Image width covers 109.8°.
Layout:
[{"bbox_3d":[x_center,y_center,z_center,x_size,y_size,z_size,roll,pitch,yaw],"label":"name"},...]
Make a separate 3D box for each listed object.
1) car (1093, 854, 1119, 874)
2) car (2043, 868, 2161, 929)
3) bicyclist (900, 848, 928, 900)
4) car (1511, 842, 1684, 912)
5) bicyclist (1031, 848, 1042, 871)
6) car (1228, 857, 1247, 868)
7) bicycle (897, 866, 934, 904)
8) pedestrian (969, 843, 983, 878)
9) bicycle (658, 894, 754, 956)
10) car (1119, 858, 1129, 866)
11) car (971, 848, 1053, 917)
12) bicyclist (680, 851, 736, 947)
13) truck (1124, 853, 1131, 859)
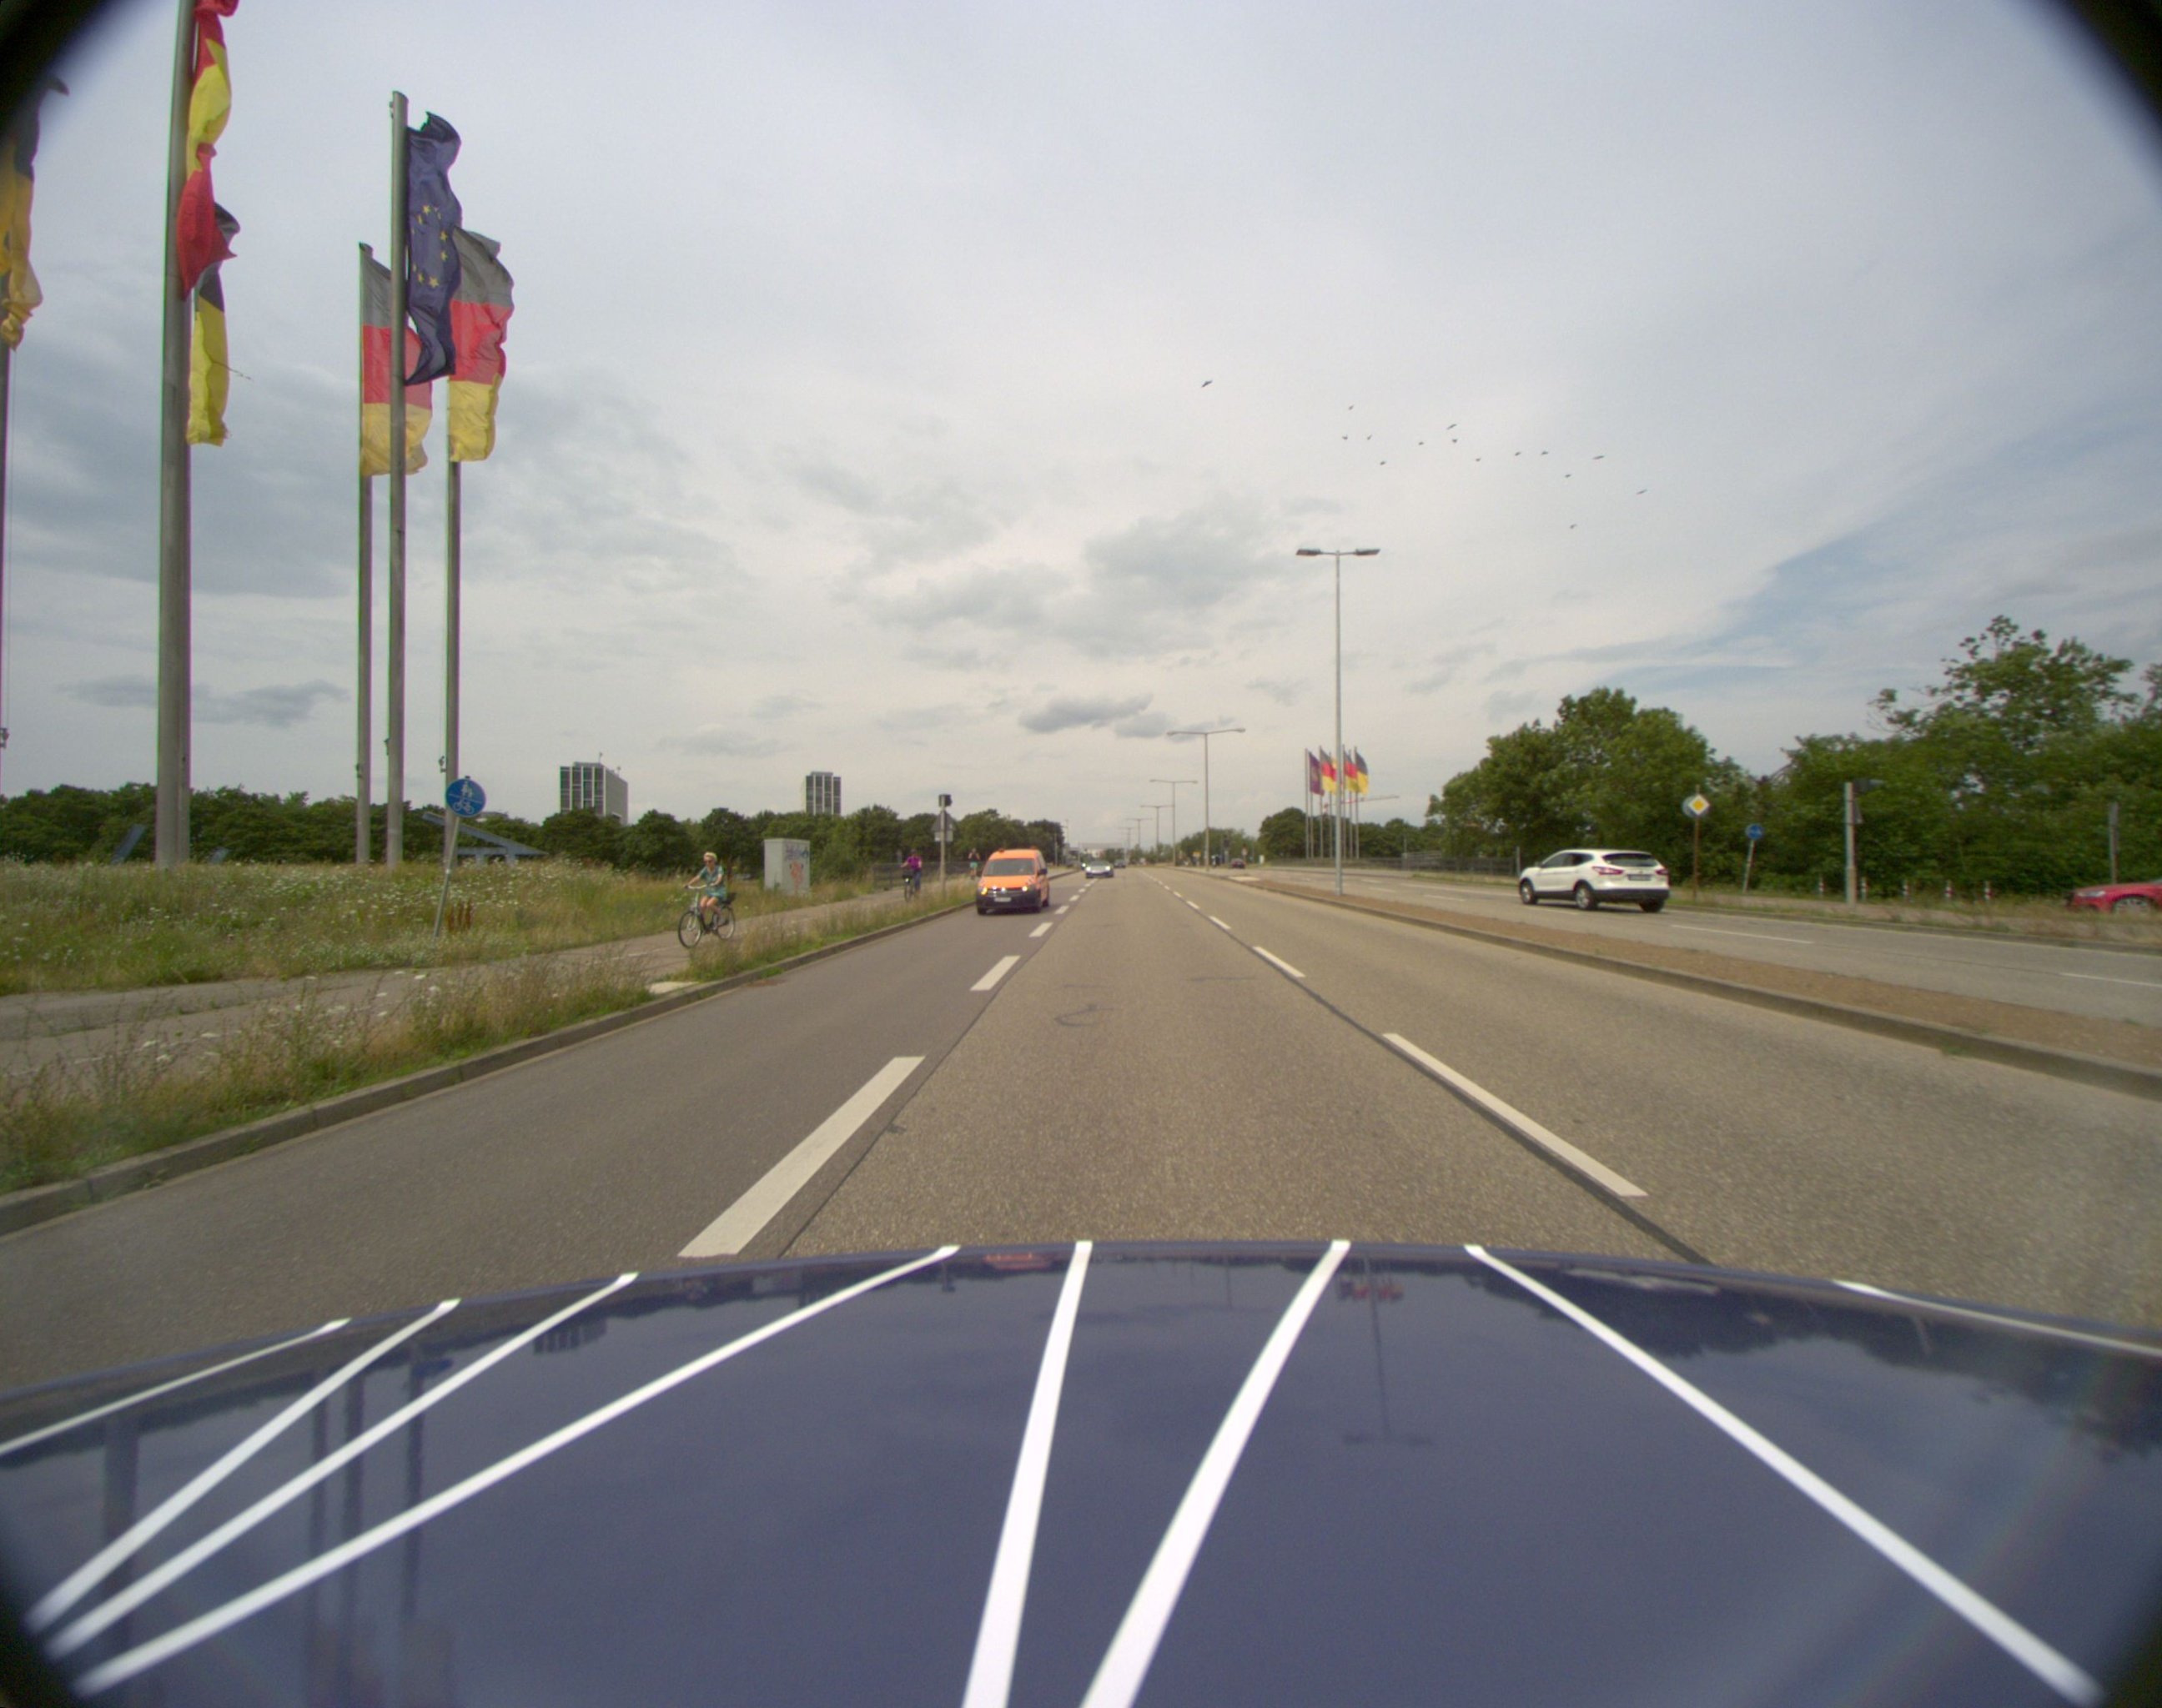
[{"bbox_3d":[1.798,0.759,56.137,1.695,1.403,3.684,-2,-1,-1],"label":"car"},{"bbox_3d":[26.101,1.023,17.700,4.285,1.365,1.785,-1,-1,40],"label":"car"},{"bbox_3d":[-5.653,0.668,25.770,0.705,1.745,0.991,0,0,1],"label":"bicyclist"},{"bbox_3d":[13.355,0.573,20.017,1.698,1.619,4.385,-1,-1,3],"label":"car"},{"bbox_3d":[-3.442,0.432,58.874,0.873,1.791,0.956,0,1,-4],"label":"bicyclist"},{"bbox_3d":[20.583,1.062,99.861,1.997,1.365,4.579,1,1,6],"label":"car"},{"bbox_3d":[-5.580,1.026,25.723,0.695,1.185,2.461,0,0,1],"label":"bicycle"},{"bbox_3d":[-6.245,0.389,45.225,0.628,2.002,0.668,1,0,2],"label":"pedestrian"},{"bbox_3d":[-6.687,1.235,13.696,0.625,0.883,2.154,-1,0,0],"label":"bicycle"},{"bbox_3d":[7.072,1.334,124.778,1.558,1.229,3.470,-2,-1,1],"label":"car"},{"bbox_3d":[-1.949,0.796,22.646,1.892,1.824,4.431,-2,-1,1],"label":"car"},{"bbox_3d":[-6.663,0.789,13.595,0.623,1.656,0.669,2,0,0],"label":"bicyclist"},{"bbox_3d":[15.136,0.640,247.629,1.998,2.001,4.001,-1,-1,1],"label":"truck"}]
